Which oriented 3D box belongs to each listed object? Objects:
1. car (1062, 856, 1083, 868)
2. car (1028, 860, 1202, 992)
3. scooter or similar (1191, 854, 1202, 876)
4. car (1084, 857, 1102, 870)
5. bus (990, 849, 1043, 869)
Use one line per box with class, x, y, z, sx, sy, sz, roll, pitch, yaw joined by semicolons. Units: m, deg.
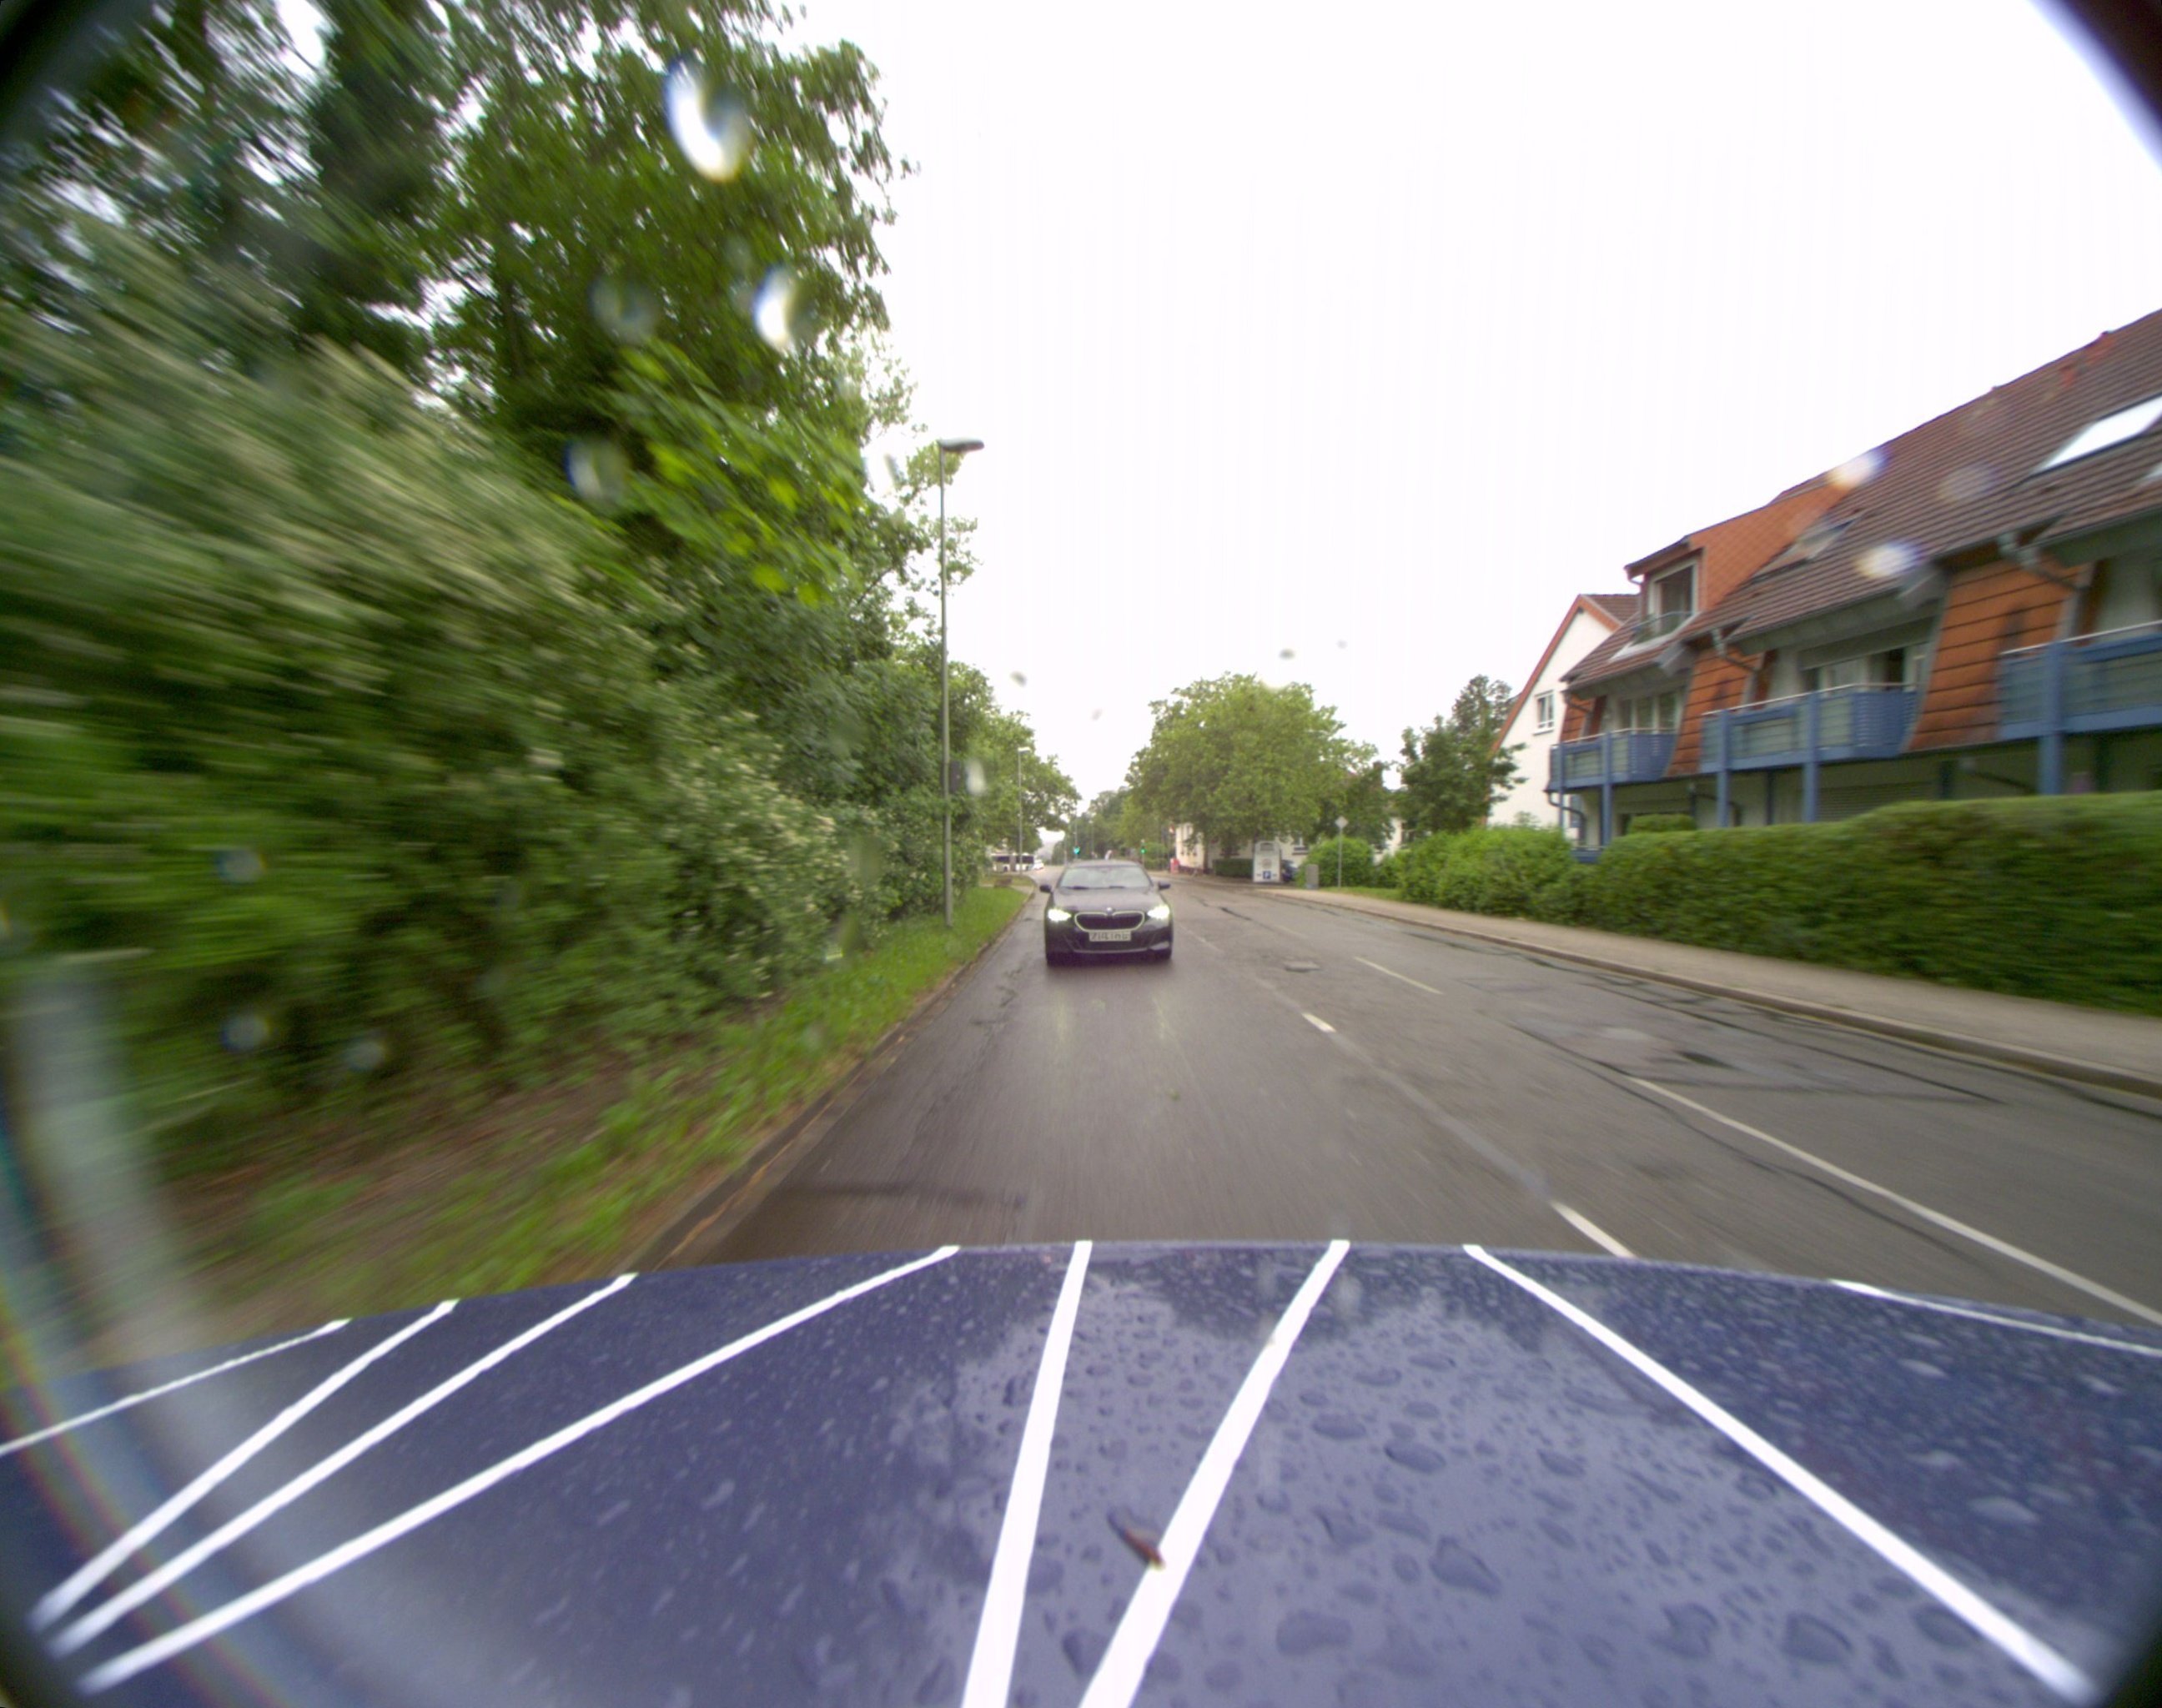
car;-1.258;1.111;107.174;2.001;1.652;4.298;0;-1;-14
car;0.298;0.922;11.569;2.000;1.586;4.145;-1;-1;-6
scooter or similar;9.293;0.858;61.155;0.402;1.765;1.511;-1;1;-6
car;1.577;1.261;98.963;1.999;1.420;4.388;5;-2;-2
bus;-10.207;0.726;122.020;2.892;2.770;10.403;-3;0;30
